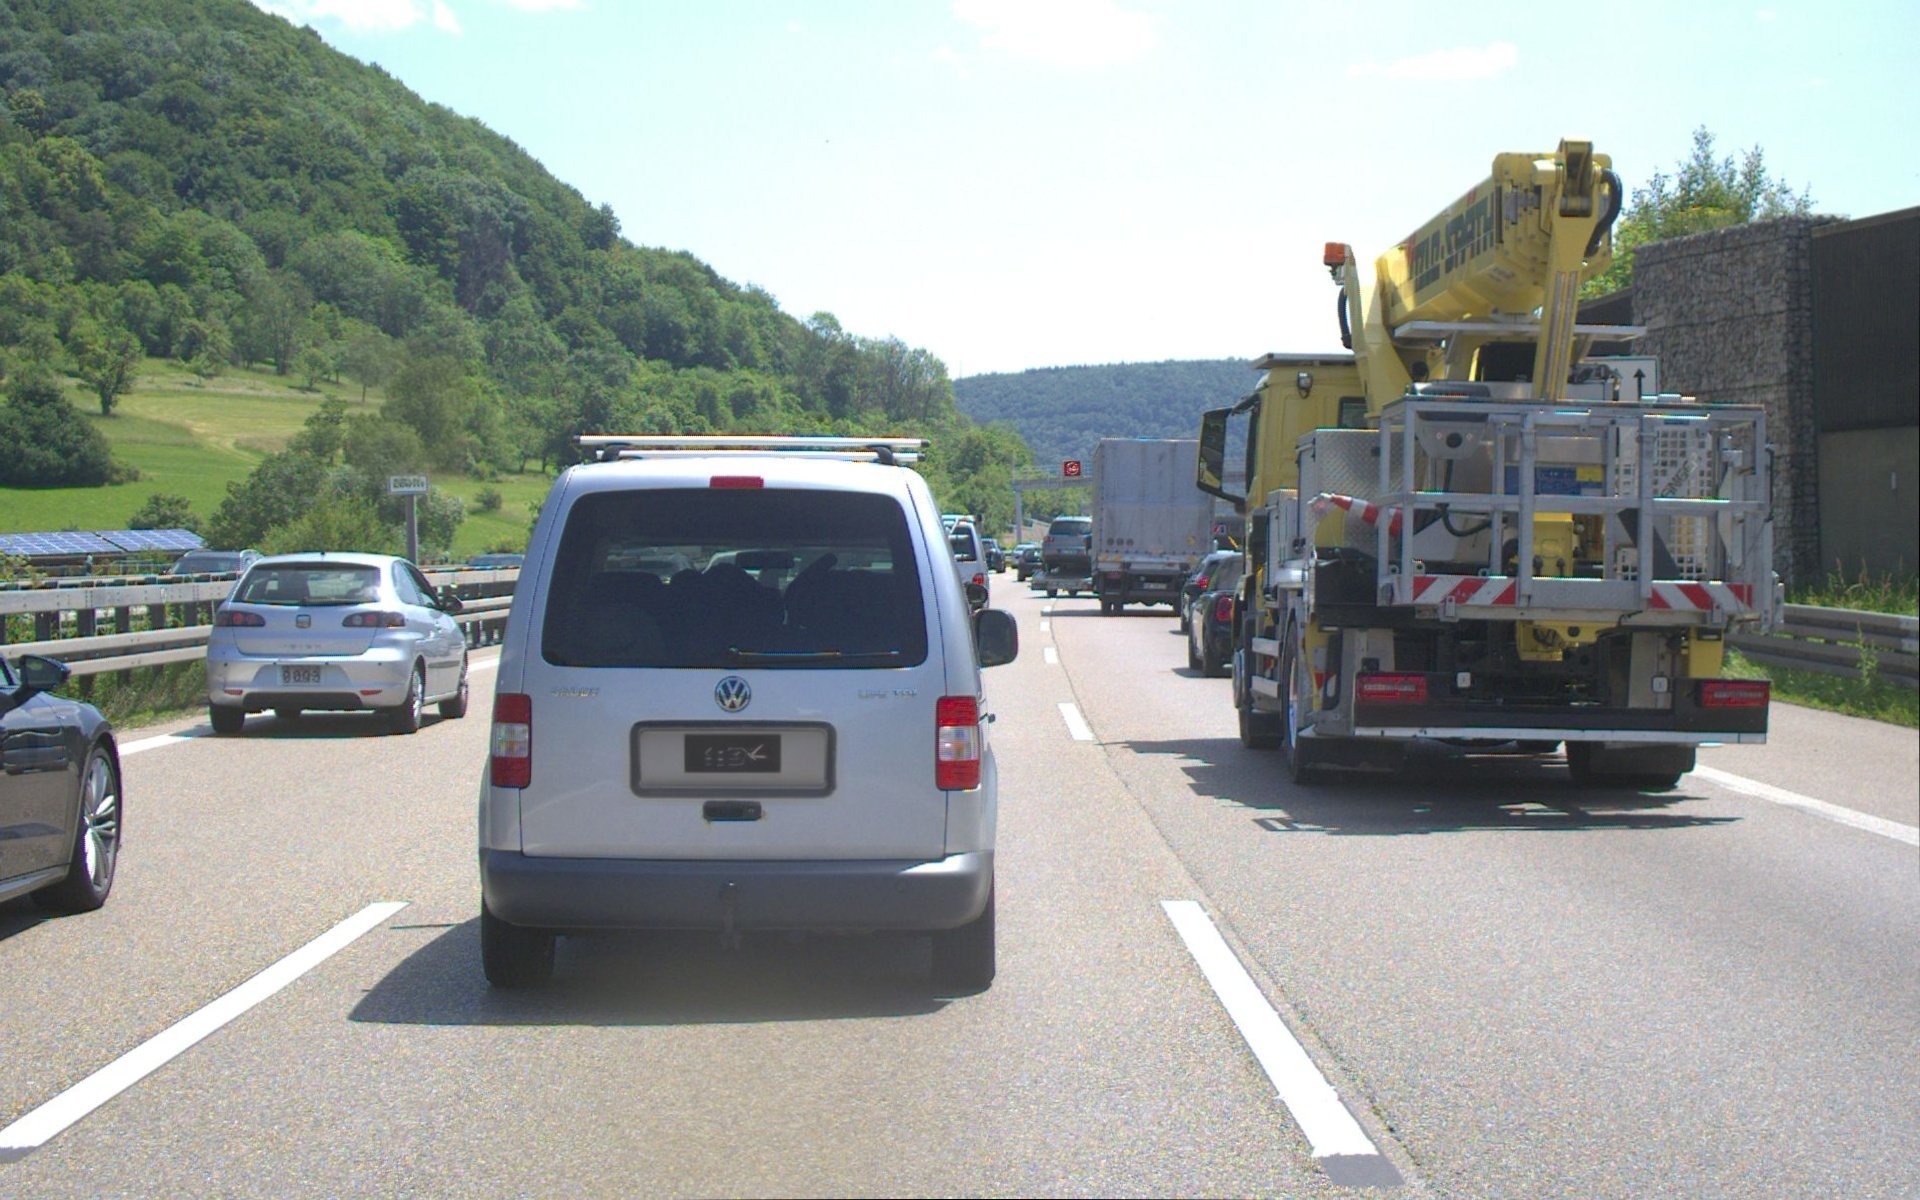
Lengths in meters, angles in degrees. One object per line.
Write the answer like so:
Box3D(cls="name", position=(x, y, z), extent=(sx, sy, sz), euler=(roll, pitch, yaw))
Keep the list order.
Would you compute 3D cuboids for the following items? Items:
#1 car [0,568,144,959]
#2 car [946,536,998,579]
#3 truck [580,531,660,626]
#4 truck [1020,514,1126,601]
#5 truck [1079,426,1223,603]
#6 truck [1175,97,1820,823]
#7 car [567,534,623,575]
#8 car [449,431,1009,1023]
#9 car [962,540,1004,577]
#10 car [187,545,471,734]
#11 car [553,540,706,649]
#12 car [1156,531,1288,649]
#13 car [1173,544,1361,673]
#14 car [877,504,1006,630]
Box3D(cls="car", position=(-4.339, 0.597, 12.167), extent=(1.800, 1.385, 4.970), euler=(0, 1, -1))
Box3D(cls="car", position=(0.502, -1.845, 148.925), extent=(2.114, 1.821, 4.000), euler=(1, 0, -2))
Box3D(cls="truck", position=(-15.648, -0.993, 158.750), extent=(2.798, 4.217, 7.231), euler=(1, 0, 1))
Box3D(cls="truck", position=(3.413, -1.285, 102.579), extent=(2.391, 2.532, 5.937), euler=(0, 1, 9))
Box3D(cls="truck", position=(4.288, -1.887, 78.766), extent=(2.940, 3.810, 8.236), euler=(1, 0, 1))
Box3D(cls="truck", position=(3.187, -0.830, 22.985), extent=(2.703, 3.929, 8.722), euler=(0, 1, -2))
Box3D(cls="car", position=(-14.333, -1.795, 135.196), extent=(1.849, 1.604, 4.079), euler=(0, 1, -1))
Box3D(cls="car", position=(-0.784, 0.365, 12.826), extent=(1.756, 1.861, 4.000), euler=(0, 1, -2))
Box3D(cls="car", position=(1.130, -2.032, 168.829), extent=(1.993, 1.799, 4.000), euler=(1, 0, -1))
Box3D(cls="car", position=(-5.091, 0.269, 28.188), extent=(1.695, 1.440, 3.862), euler=(0, 1, -1))
Box3D(cls="car", position=(-4.722, -0.113, 49.643), extent=(1.924, 1.494, 4.000), euler=(1, 1, -2))
Box3D(cls="car", position=(4.585, -0.207, 60.701), extent=(1.993, 2.007, 4.000), euler=(0, 1, 0))
Box3D(cls="car", position=(3.591, 0.061, 40.792), extent=(1.786, 1.453, 3.771), euler=(0, 1, -2))
Box3D(cls="car", position=(-0.338, -0.544, 55.703), extent=(1.993, 1.969, 4.000), euler=(0, 1, -2))
